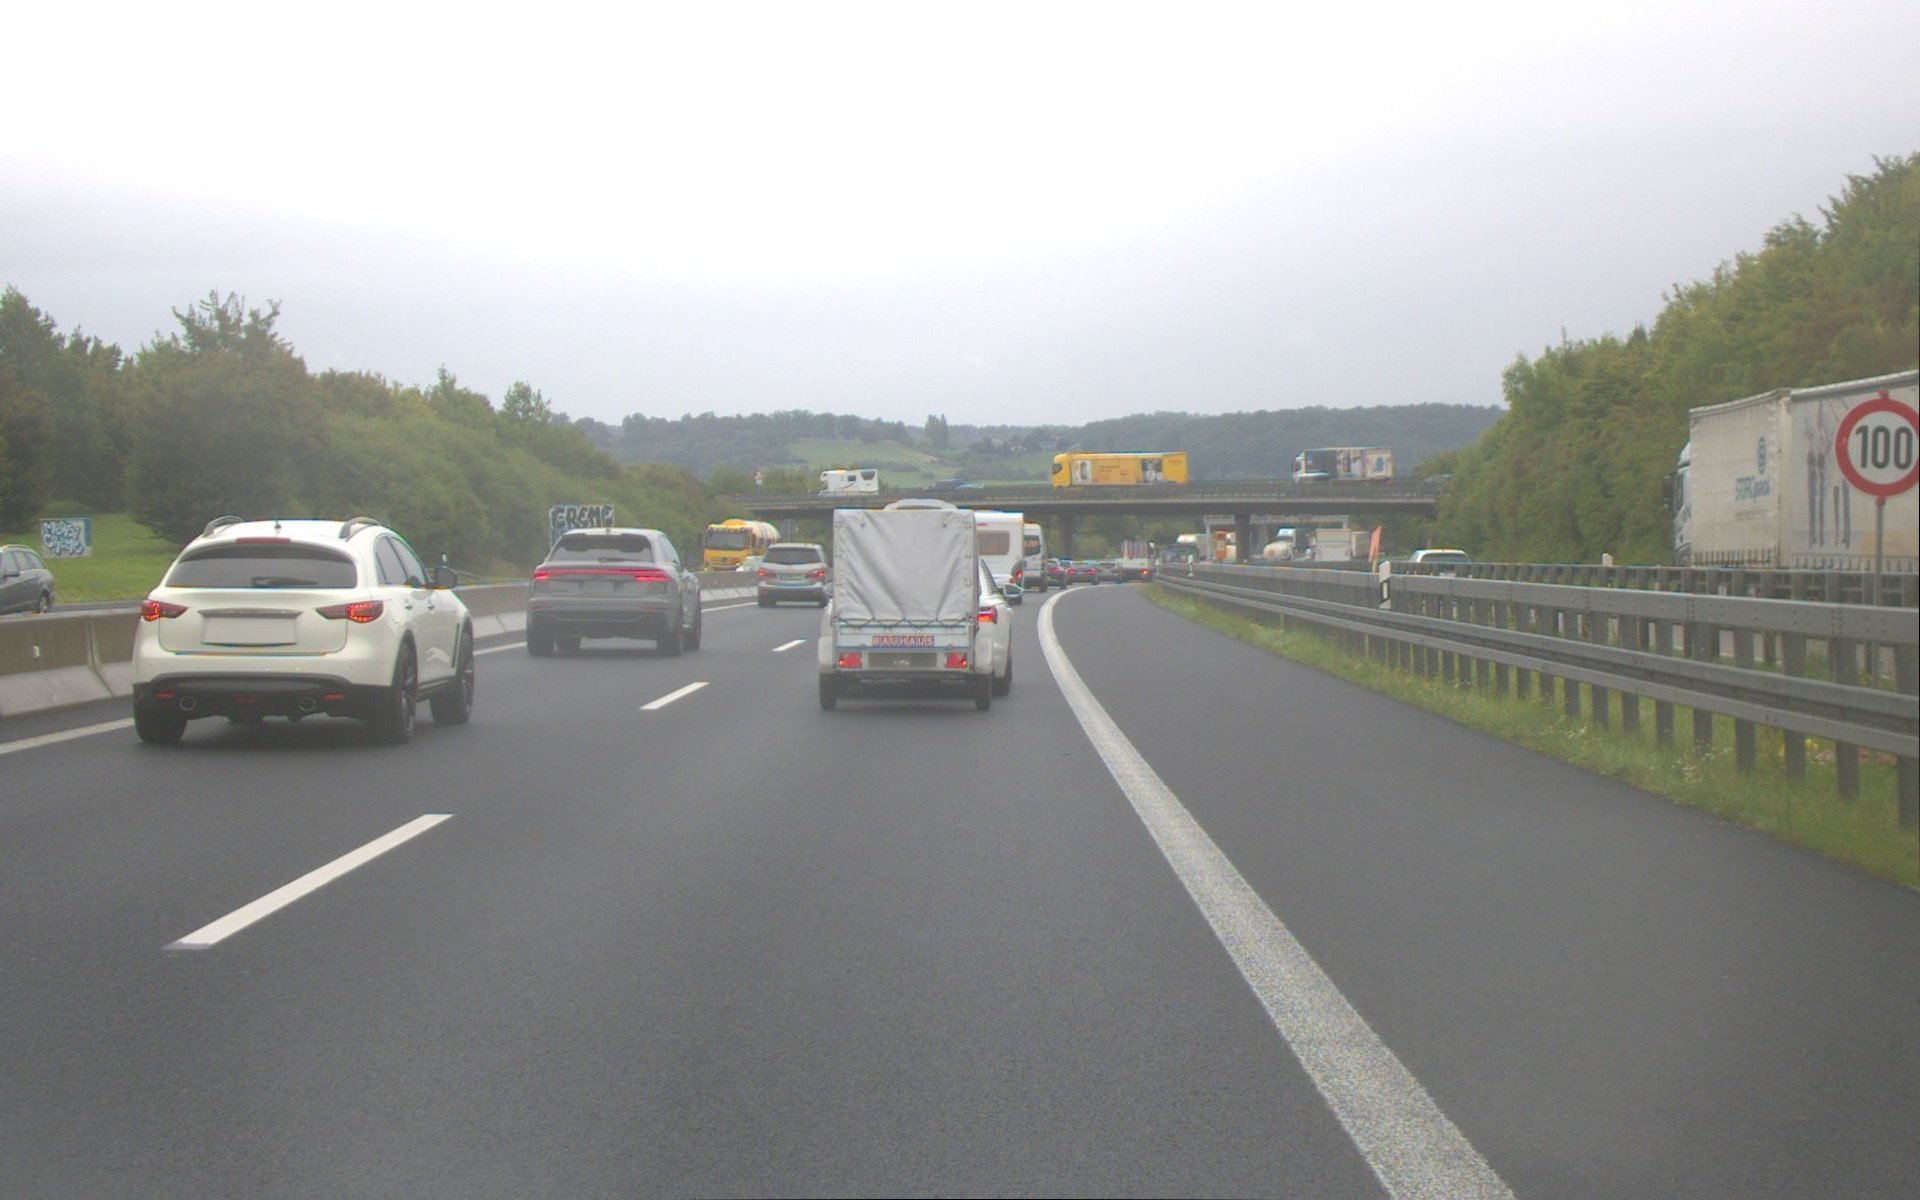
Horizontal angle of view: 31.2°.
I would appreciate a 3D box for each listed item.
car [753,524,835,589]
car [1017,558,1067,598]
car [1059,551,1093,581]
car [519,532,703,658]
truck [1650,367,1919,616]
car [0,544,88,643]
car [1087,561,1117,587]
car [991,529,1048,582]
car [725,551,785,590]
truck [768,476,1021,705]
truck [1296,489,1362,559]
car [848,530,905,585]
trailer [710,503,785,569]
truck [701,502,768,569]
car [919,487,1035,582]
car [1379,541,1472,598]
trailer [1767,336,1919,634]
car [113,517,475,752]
[{"bbox_3d":[-4.146,-1.105,86.386,1.900,1.607,4.017,0,1,0],"label":"car"},{"bbox_3d":[3.677,-1.005,154.363,1.993,1.744,4.000,1,1,-2],"label":"car"},{"bbox_3d":[7.063,-2.060,209.300,1.994,1.744,4.000,1,1,2],"label":"car"},{"bbox_3d":[-4.685,-0.104,46.750,2.174,1.626,4.501,0,1,-2],"label":"car"},{"bbox_3d":[15.619,-1.973,64.181,3.437,4.274,10.418,0,1,1],"label":"truck"},{"bbox_3d":[-17.552,-0.153,61.780,2.180,1.690,5.249,0,1,3],"label":"car"},{"bbox_3d":[9.822,-1.800,237.570,1.994,1.744,4.000,1,1,3],"label":"car"},{"bbox_3d":[2.323,-1.748,135.380,1.993,2.029,4.152,1,1,-2],"label":"car"},{"bbox_3d":[-9.379,-1.365,157.804,2.180,1.690,4.864,0,1,3],"label":"car"},{"bbox_3d":[-0.504,-0.163,33.363,2.019,1.979,7.212,0,1,2],"label":"truck"},{"bbox_3d":[27.096,-5.597,253.037,4.094,5.086,10.463,0,1,2],"label":"truck"},{"bbox_3d":[-2.794,-1.435,115.807,1.842,1.813,4.000,0,1,0],"label":"car"},{"bbox_3d":[-11.327,-3.399,184.326,2.762,3.386,11.446,1,1,3],"label":"trailer"},{"bbox_3d":[-11.663,-3.319,177.886,2.762,3.386,5.845,1,1,3],"label":"truck"},{"bbox_3d":[0.540,-1.860,97.116,3.017,2.607,6.074,0,1,3],"label":"car"},{"bbox_3d":[12.026,-0.806,89.080,1.860,1.442,4.158,0,1,0],"label":"car"},{"bbox_3d":[15.521,-1.739,53.746,3.437,4.274,10.454,0,1,1],"label":"trailer"},{"bbox_3d":[-4.945,0.203,26.135,1.976,1.633,4.501,0,1,-1],"label":"car"}]
